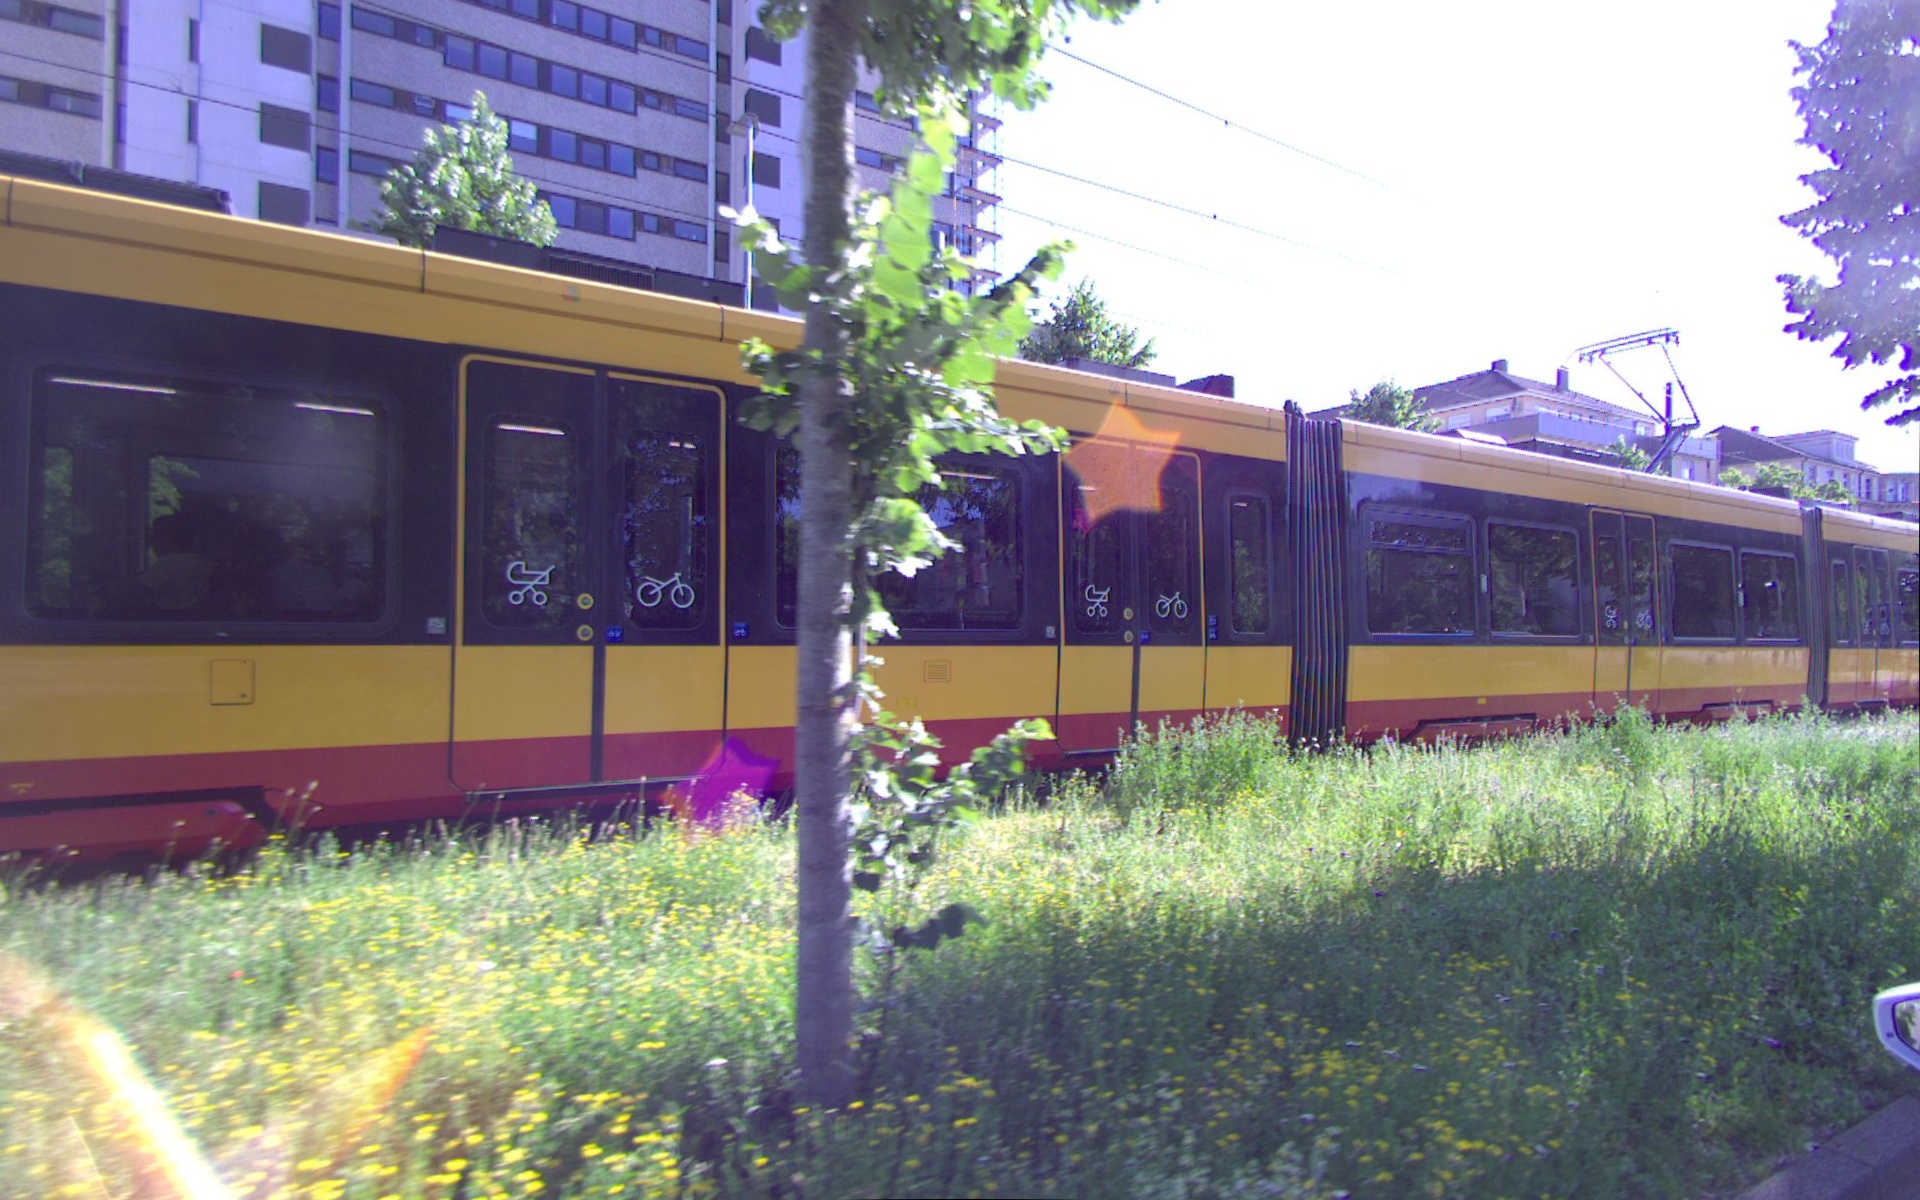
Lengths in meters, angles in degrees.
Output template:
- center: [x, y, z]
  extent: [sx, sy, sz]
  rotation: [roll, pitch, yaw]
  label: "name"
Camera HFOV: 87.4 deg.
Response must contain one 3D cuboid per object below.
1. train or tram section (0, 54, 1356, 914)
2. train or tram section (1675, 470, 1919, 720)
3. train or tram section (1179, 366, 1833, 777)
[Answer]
- center: [-2.860, -0.447, 6.323]
  extent: [13.993, 3.718, 1.983]
  rotation: [2, -1, -32]
  label: "train or tram section"
- center: [17.333, 0.061, 18.745]
  extent: [11.548, 3.718, 1.984]
  rotation: [2, -1, -31]
  label: "train or tram section"
- center: [7.658, -0.126, 12.846]
  extent: [11.187, 3.718, 1.983]
  rotation: [2, -1, -31]
  label: "train or tram section"
